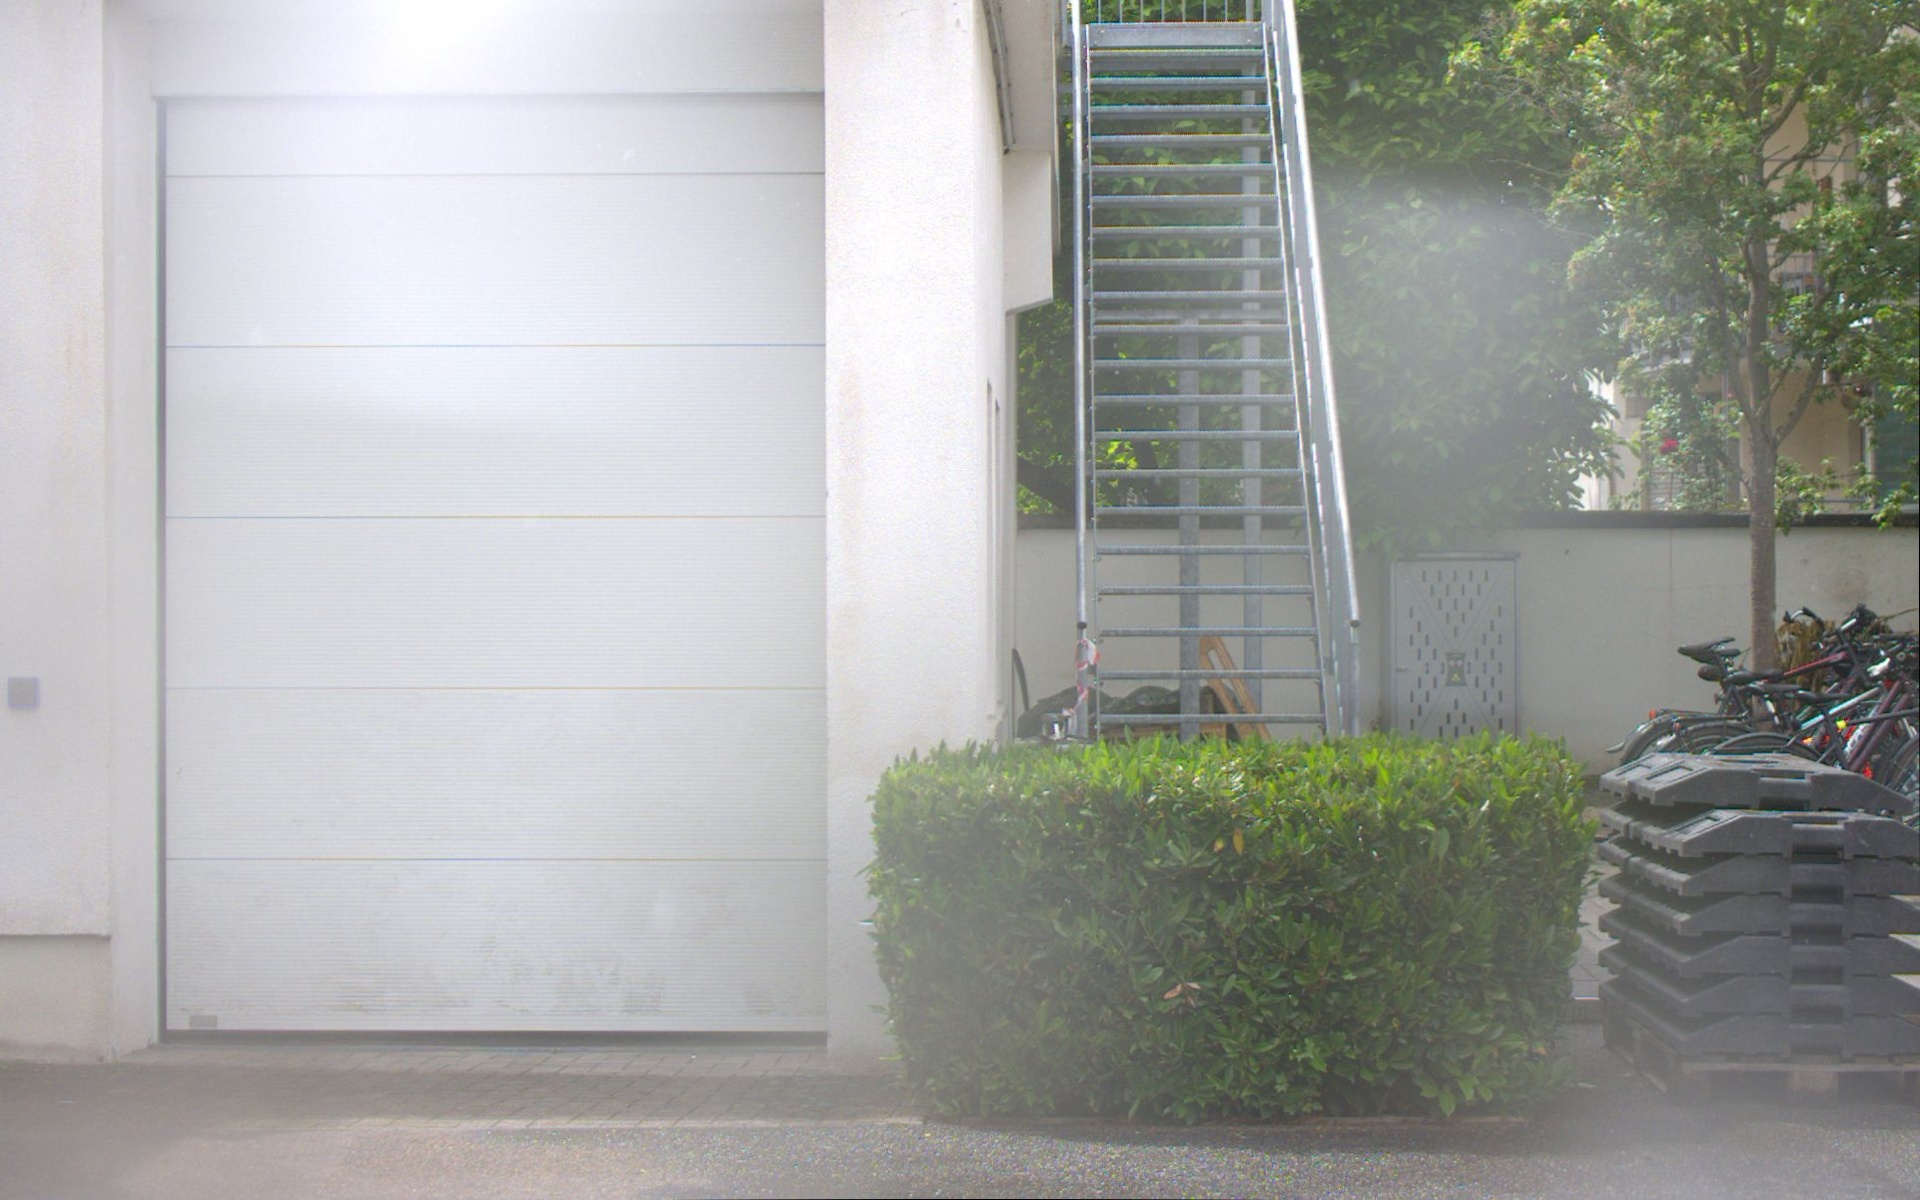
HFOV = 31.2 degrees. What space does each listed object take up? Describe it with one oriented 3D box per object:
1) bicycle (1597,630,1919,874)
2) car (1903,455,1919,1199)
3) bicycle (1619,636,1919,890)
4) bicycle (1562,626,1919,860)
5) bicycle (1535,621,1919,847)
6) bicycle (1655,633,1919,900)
[{"bbox_3d":[4.518,0.728,16.265,2.843,1.074,0.689,1,1,-1],"label":"bicycle"},{"bbox_3d":[4.420,0.576,6.317,4.708,1.827,2.111,-1,0,-5],"label":"car"},{"bbox_3d":[4.483,0.745,15.541,2.843,1.074,0.689,1,1,-1],"label":"bicycle"},{"bbox_3d":[4.473,0.709,16.979,2.843,1.074,0.689,1,1,-1],"label":"bicycle"},{"bbox_3d":[4.456,0.691,17.687,2.843,1.074,0.689,1,1,-1],"label":"bicycle"},{"bbox_3d":[4.534,0.725,14.761,2.923,1.074,0.689,1,1,-1],"label":"bicycle"}]
